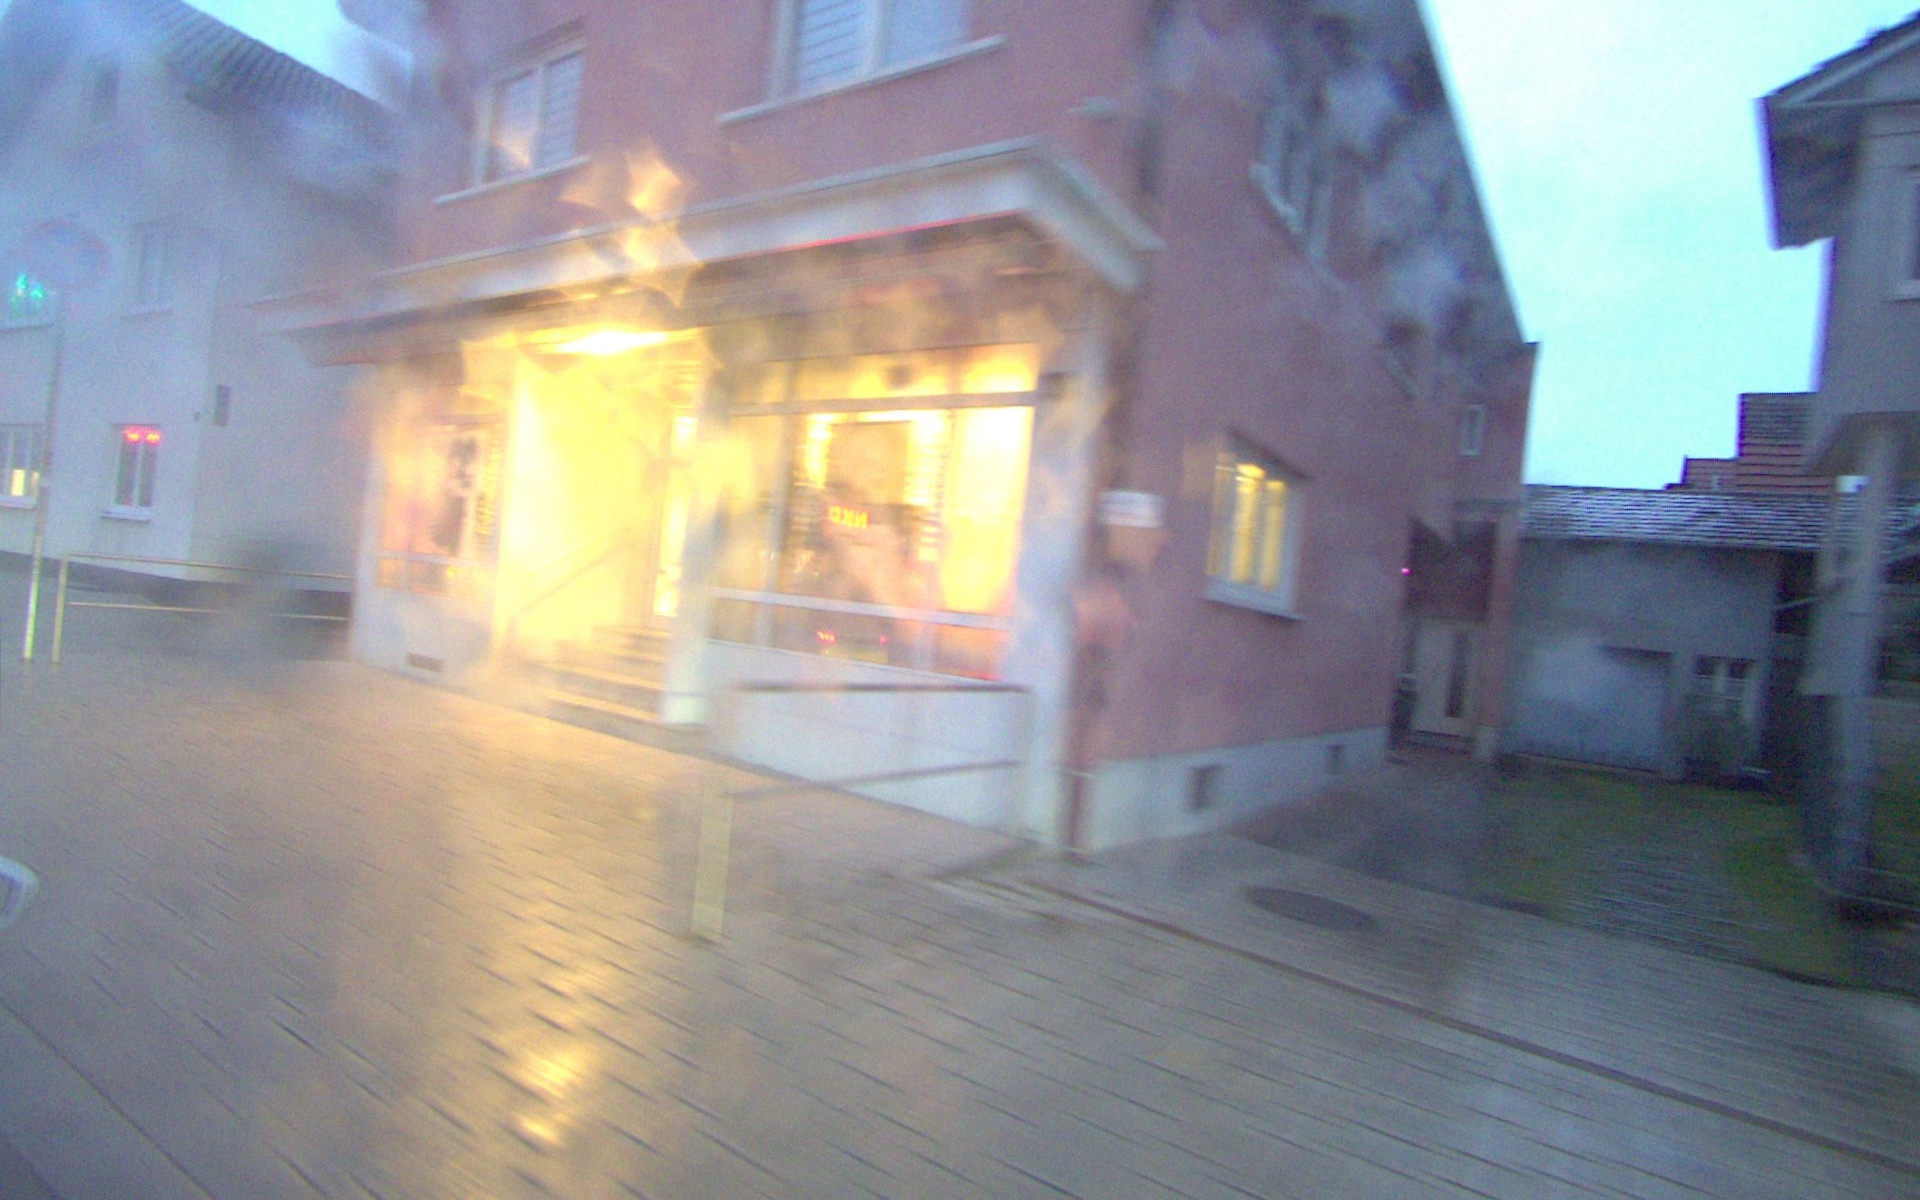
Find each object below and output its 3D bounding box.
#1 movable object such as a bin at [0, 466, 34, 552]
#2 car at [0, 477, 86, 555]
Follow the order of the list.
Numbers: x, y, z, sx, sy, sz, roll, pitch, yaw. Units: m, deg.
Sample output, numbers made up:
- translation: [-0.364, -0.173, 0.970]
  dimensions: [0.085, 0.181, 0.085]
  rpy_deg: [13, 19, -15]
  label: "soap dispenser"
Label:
- translation: [-19.618, -1.888, 20.120]
  dimensions: [1.165, 1.666, 1.286]
  rpy_deg: [7, 3, 31]
  label: "movable object such as a bin"
- translation: [-21.638, -1.983, 21.597]
  dimensions: [1.884, 1.504, 3.986]
  rpy_deg: [6, -1, 36]
  label: "car"
